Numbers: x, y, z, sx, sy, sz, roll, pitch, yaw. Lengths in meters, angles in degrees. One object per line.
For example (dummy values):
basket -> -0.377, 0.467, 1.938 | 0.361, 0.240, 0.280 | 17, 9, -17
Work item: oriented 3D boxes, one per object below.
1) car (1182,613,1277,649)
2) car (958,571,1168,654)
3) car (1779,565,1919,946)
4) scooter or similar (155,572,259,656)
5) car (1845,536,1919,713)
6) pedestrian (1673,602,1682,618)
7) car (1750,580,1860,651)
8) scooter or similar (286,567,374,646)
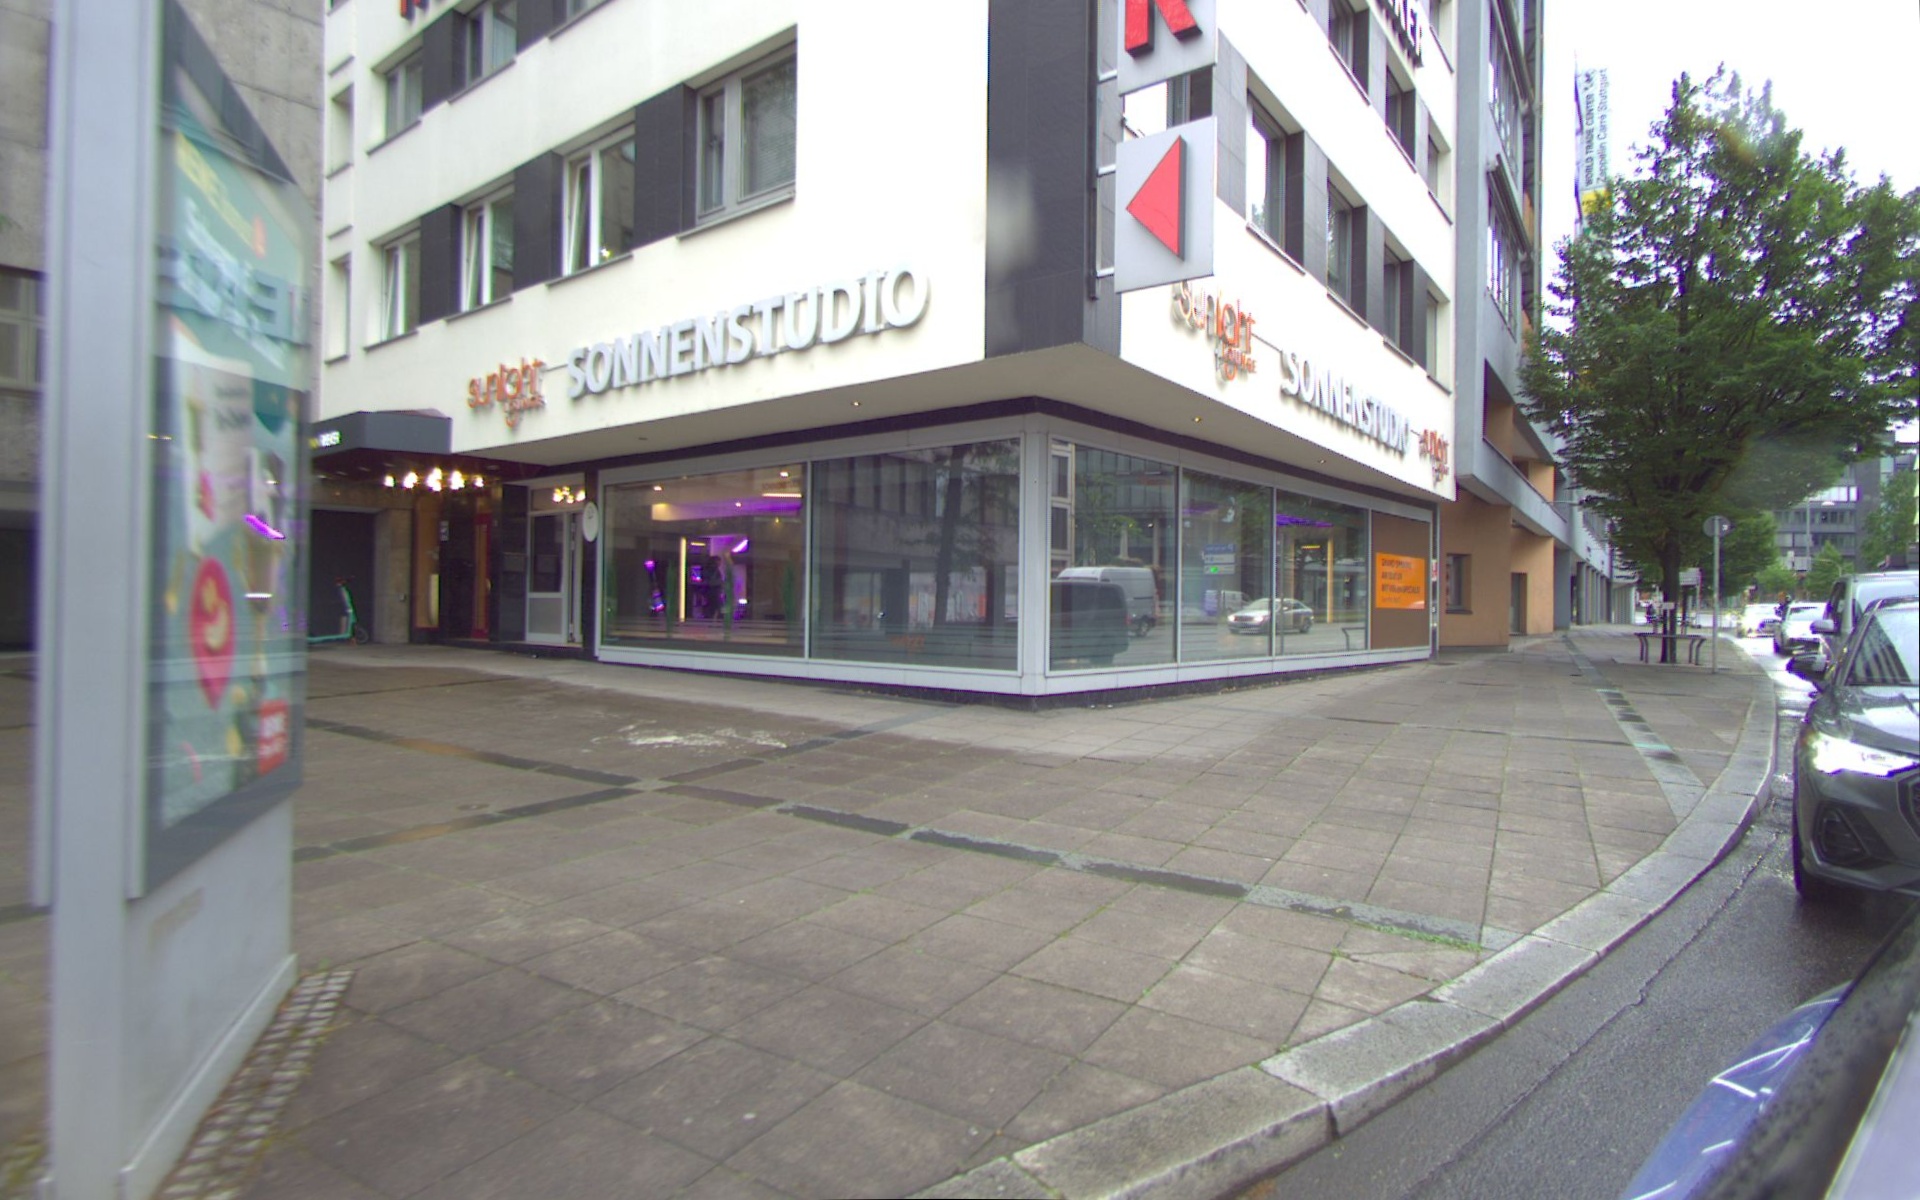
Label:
car -> 10.789, 1.241, 40.592 | 3.366, 1.347, 1.547 | -1, 0, 34
car -> 2.366, 0.224, 22.296 | 1.994, 1.629, 4.848 | -1, 0, 45
car -> 5.797, 0.602, 5.389 | 1.798, 1.571, 4.318 | -1, 0, 45
scooter or similar -> -11.904, 0.194, 16.025 | 0.562, 1.269, 1.215 | 2, 2, 37
car -> 12.405, 0.224, 12.579 | 2.052, 1.916, 4.974 | -1, 0, 41
pedestrian -> 72.983, 0.976, 102.945 | 0.648, 1.618, 1.047 | -1, -1, 31
car -> 24.869, 0.410, 29.962 | 2.048, 1.916, 4.985 | -1, 0, 35
scooter or similar -> -11.204, 0.113, 18.026 | 0.516, 1.354, 1.215 | -2, 0, 37
